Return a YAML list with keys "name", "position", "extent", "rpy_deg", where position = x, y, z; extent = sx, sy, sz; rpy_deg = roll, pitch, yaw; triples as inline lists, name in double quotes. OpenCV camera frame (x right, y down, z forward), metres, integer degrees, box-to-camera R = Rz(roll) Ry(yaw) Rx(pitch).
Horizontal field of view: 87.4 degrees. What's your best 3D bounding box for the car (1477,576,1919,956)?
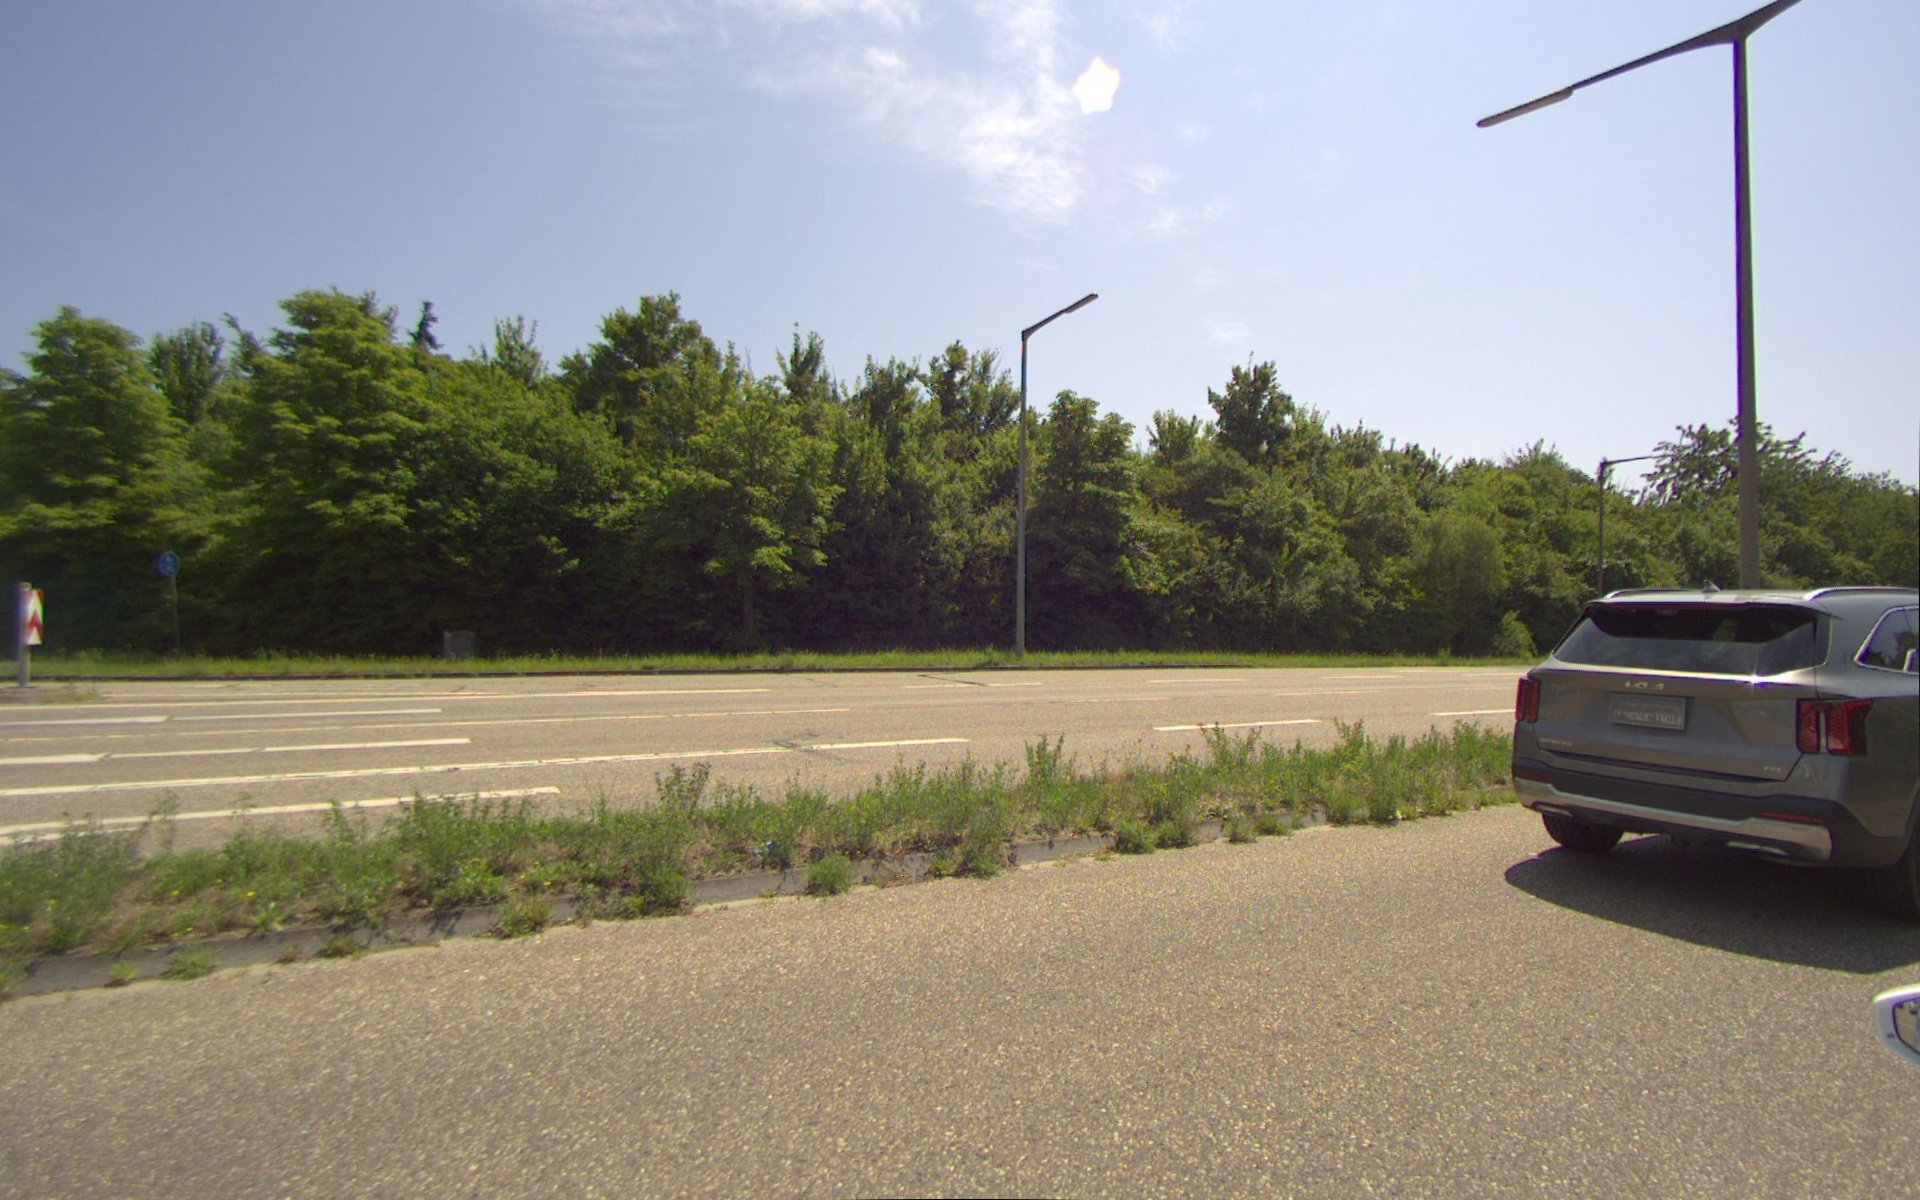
- name: "car"
  position: [5.542, 0.802, 6.387]
  extent: [4.588, 1.684, 1.796]
  rpy_deg: [2, -1, -29]
